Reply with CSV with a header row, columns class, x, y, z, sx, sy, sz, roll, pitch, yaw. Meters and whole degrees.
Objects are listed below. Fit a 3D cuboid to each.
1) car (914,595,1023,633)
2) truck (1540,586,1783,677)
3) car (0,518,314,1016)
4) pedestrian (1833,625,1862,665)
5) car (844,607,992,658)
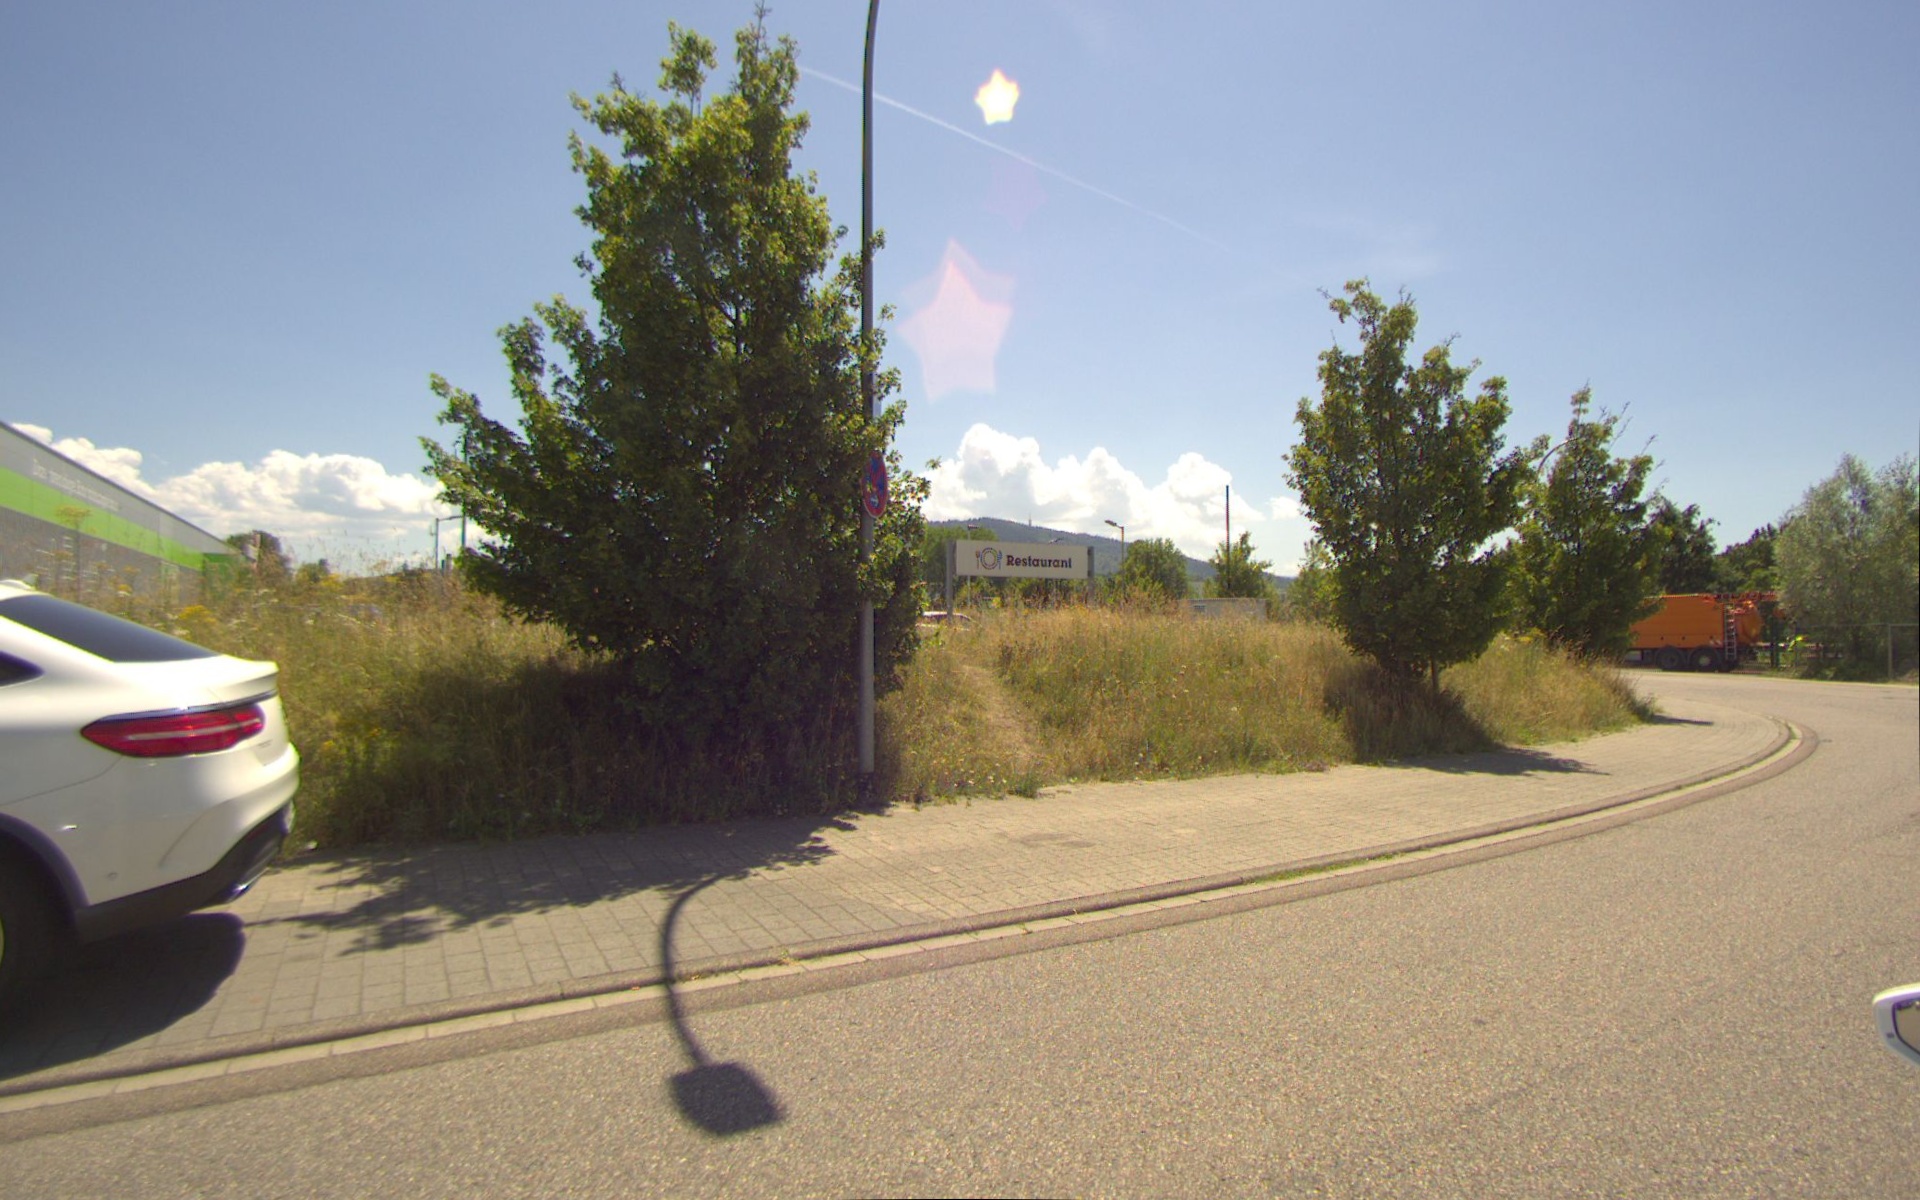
class,x,y,z,sx,sy,sz,roll,pitch,yaw
car,0.425,0.672,46.618,4.786,1.680,1.982,2,-1,-33
truck,32.964,1.509,47.648,4.120,3.856,8.535,1,-2,-33
car,-5.064,0.559,3.413,4.699,1.677,1.903,1,-3,-31
pedestrian,41.742,2.109,47.248,0.731,1.849,0.871,1,-1,-31
car,-1.235,0.960,29.825,3.956,1.431,1.982,2,-1,-33
